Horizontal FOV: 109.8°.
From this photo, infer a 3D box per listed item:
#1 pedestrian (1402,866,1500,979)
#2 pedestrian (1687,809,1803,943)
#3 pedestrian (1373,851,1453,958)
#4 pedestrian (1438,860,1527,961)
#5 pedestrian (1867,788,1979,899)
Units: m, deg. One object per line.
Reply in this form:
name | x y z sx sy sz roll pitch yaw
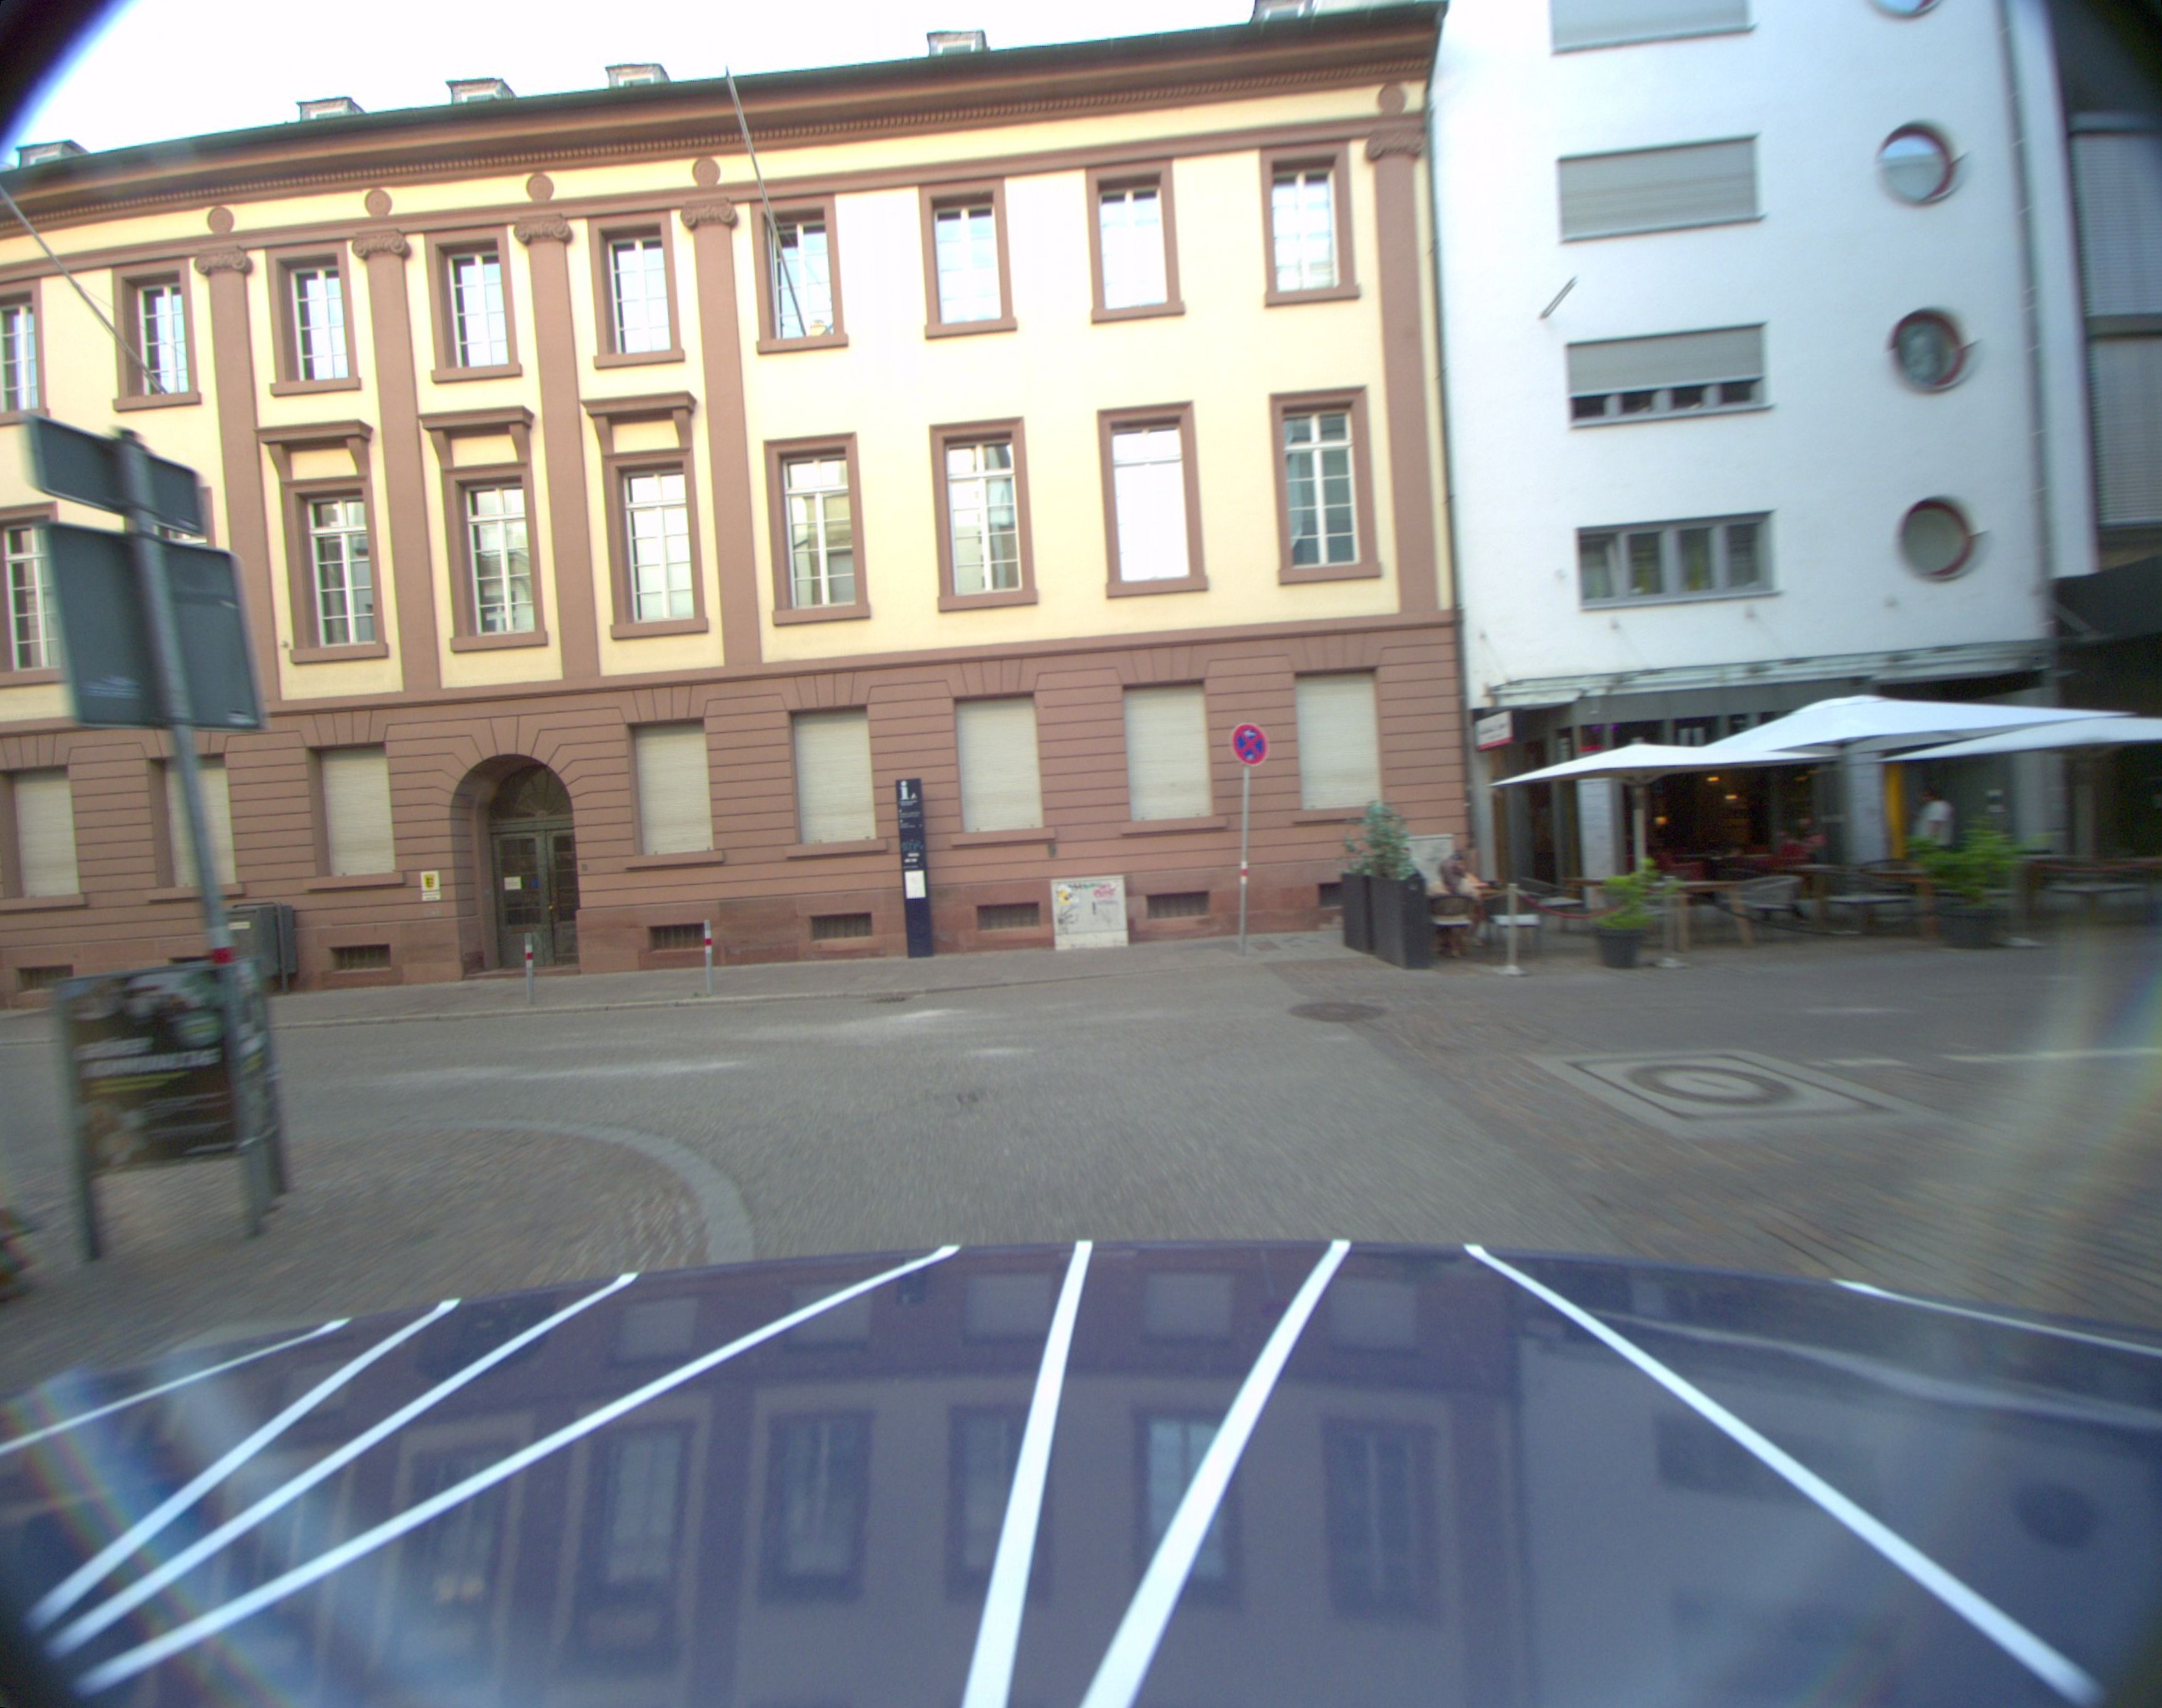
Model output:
pedestrian | 4.251 0.760 8.766 0.673 1.177 0.792 -4 2 -3
pedestrian | 8.622 0.276 9.900 0.725 1.639 0.792 -4 1 -3
pedestrian | 4.422 0.651 10.160 0.673 1.324 0.792 -4 2 1
pedestrian | 5.116 0.697 9.721 0.673 1.177 0.792 -4 2 1
pedestrian | 13.312 -0.163 12.032 0.800 1.649 0.858 -4 1 -14
